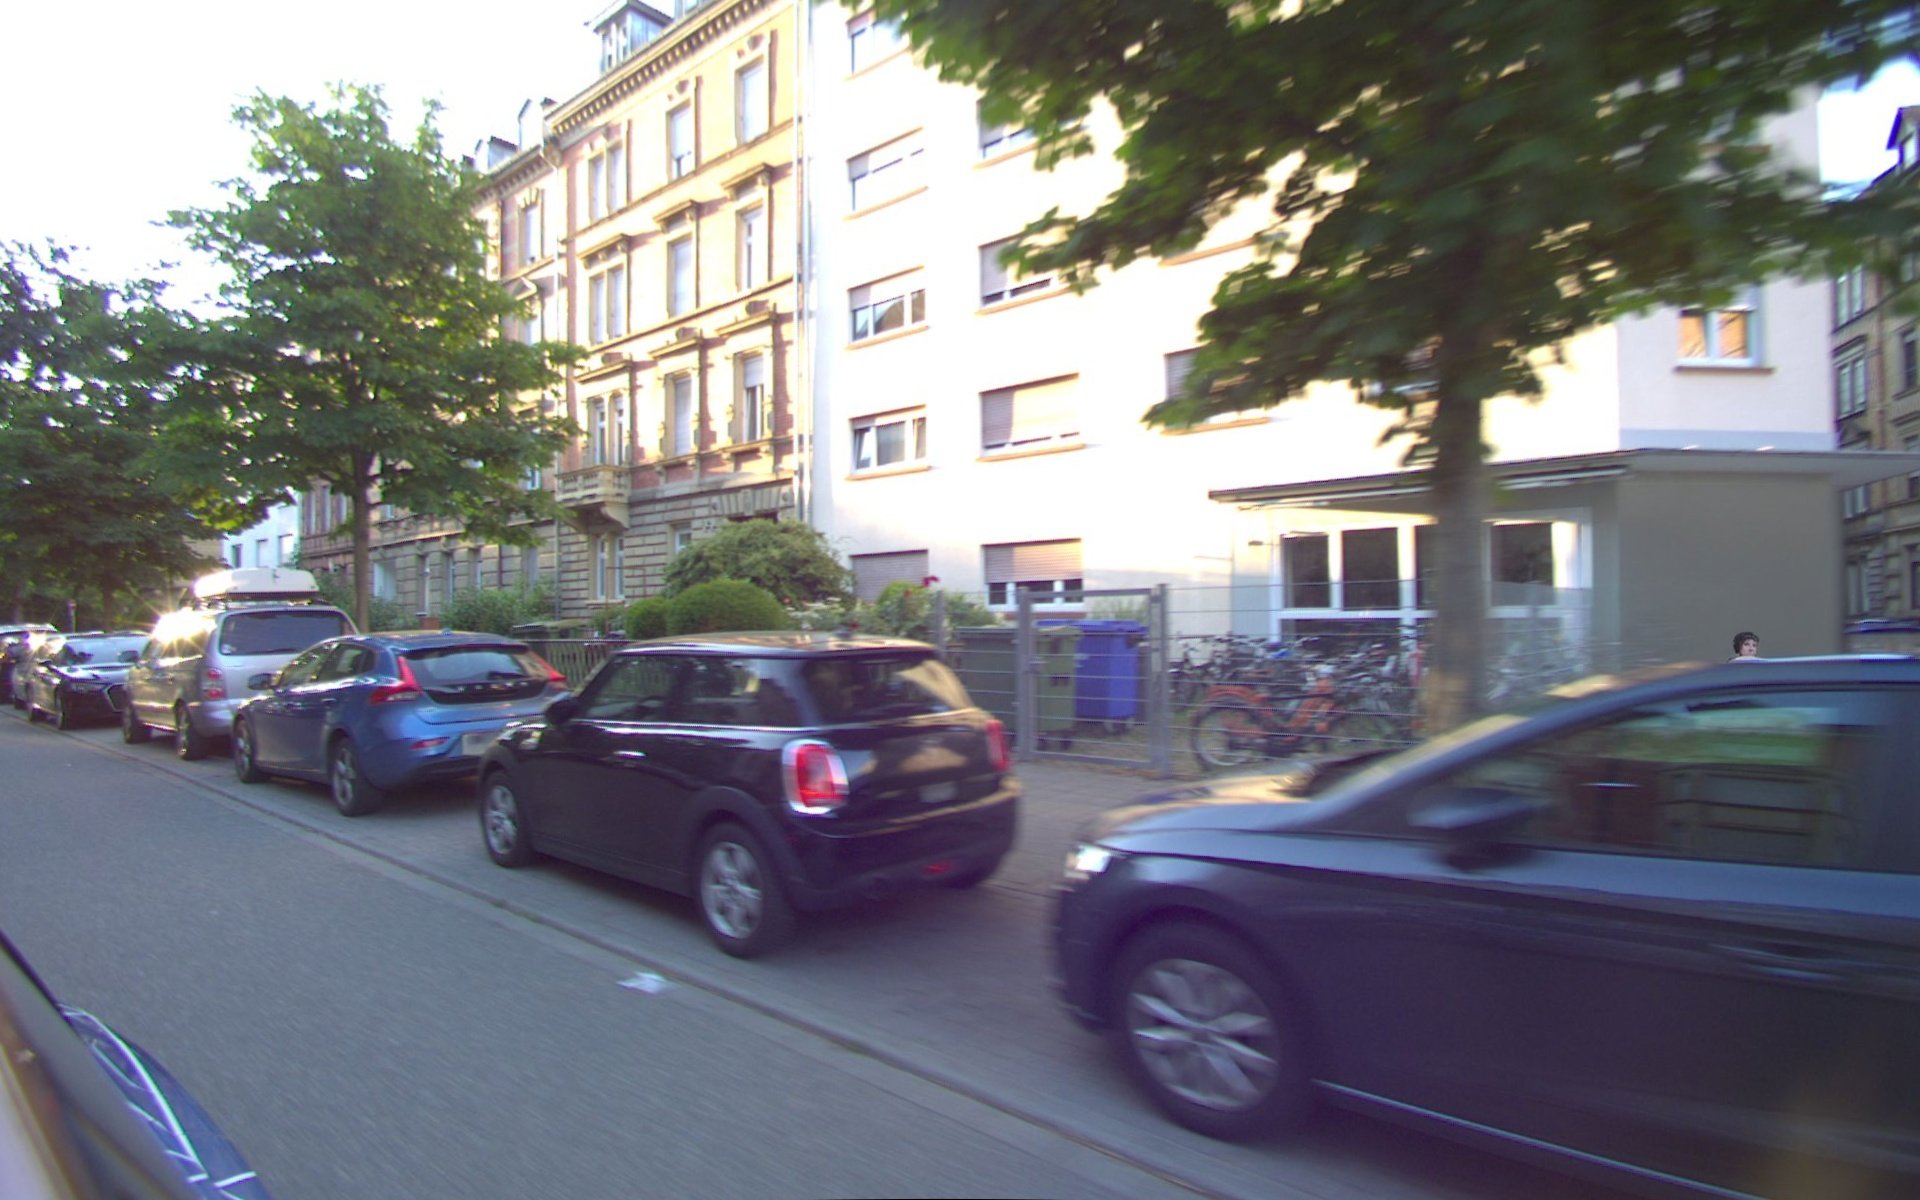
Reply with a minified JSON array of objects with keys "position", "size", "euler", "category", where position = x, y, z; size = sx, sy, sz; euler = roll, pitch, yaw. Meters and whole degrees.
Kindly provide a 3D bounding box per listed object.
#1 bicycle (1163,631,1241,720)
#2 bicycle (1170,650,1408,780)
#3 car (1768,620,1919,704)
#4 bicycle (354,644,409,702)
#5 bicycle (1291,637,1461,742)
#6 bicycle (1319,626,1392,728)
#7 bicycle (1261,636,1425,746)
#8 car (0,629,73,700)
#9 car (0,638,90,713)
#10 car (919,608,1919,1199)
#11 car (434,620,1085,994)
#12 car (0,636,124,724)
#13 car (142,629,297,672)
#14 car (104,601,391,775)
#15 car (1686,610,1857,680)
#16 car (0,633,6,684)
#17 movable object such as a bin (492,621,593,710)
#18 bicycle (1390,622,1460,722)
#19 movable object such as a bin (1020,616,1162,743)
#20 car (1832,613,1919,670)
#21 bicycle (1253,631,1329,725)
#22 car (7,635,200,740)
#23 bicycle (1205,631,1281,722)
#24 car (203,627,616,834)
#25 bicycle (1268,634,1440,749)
[{"position":[3.375,1.021,14.026],"size":[0.499,1.100,1.531],"euler":[-2,0,35],"category":"bicycle"},{"position":[2.967,0.994,9.225],"size":[1.928,1.033,0.681],"euler":[-2,0,36],"category":"bicycle"},{"position":[17.090,1.094,18.862],"size":[1.860,1.419,3.975],"euler":[-2,-2,19],"category":"car"},{"position":[-11.753,1.461,20.554],"size":[1.633,1.118,0.451],"euler":[-2,0,42],"category":"bicycle"},{"position":[4.631,0.993,11.323],"size":[1.690,1.100,0.384],"euler":[-2,0,5],"category":"bicycle"},{"position":[5.049,0.943,12.868],"size":[0.499,1.150,1.531],"euler":[-2,0,35],"category":"bicycle"},{"position":[4.104,0.968,10.911],"size":[1.528,1.100,0.500],"euler":[-2,0,4],"category":"bicycle"},{"position":[-24.455,1.624,26.154],"size":[4.020,1.675,1.842],"euler":[-2,-1,42],"category":"car"},{"position":[-20.819,1.635,22.650],"size":[3.625,1.510,1.660],"euler":[-2,-1,43],"category":"car"},{"position":[2.109,0.775,2.721],"size":[4.459,1.472,1.658],"euler":[-2,-1,39],"category":"car"},{"position":[-1.454,0.875,6.035],"size":[4.143,1.431,1.723],"euler":[-2,-1,43],"category":"car"},{"position":[-17.540,1.485,19.631],"size":[3.295,1.505,1.423],"euler":[-2,-1,39],"category":"car"},{"position":[-27.057,1.802,37.106],"size":[1.625,1.351,4.355],"euler":[-2,-1,41],"category":"car"},{"position":[-9.060,0.967,12.711],"size":[4.619,1.792,1.843],"euler":[-2,-1,40],"category":"car"},{"position":[18.744,1.012,23.610],"size":[1.773,1.478,3.975],"euler":[-2,-2,19],"category":"car"},{"position":[-33.234,1.966,33.651],"size":[3.936,1.649,1.657],"euler":[-2,-1,38],"category":"car"},{"position":[-7.136,1.093,17.288],"size":[1.549,1.398,0.937],"euler":[-2,0,38],"category":"movable object such as a bin"},{"position":[5.751,0.858,12.469],"size":[0.499,1.100,1.531],"euler":[-2,0,35],"category":"bicycle"},{"position":[1.531,0.898,11.916],"size":[1.398,1.362,0.857],"euler":[-2,0,43],"category":"movable object such as a bin"},{"position":[26.261,1.117,28.084],"size":[1.774,1.470,3.973],"euler":[-2,-2,20],"category":"car"},{"position":[4.392,0.991,13.369],"size":[0.499,1.100,1.616],"euler":[-2,0,35],"category":"bicycle"},{"position":[-14.022,1.334,16.497],"size":[4.020,1.452,1.711],"euler":[-2,-1,39],"category":"car"},{"position":[3.846,1.005,13.688],"size":[0.499,1.100,1.531],"euler":[-2,0,35],"category":"bicycle"},{"position":[-5.286,1.010,9.419],"size":[4.587,1.423,1.843],"euler":[-2,-1,40],"category":"car"},{"position":[4.022,0.931,10.397],"size":[1.528,1.100,0.500],"euler":[-2,0,4],"category":"bicycle"}]
